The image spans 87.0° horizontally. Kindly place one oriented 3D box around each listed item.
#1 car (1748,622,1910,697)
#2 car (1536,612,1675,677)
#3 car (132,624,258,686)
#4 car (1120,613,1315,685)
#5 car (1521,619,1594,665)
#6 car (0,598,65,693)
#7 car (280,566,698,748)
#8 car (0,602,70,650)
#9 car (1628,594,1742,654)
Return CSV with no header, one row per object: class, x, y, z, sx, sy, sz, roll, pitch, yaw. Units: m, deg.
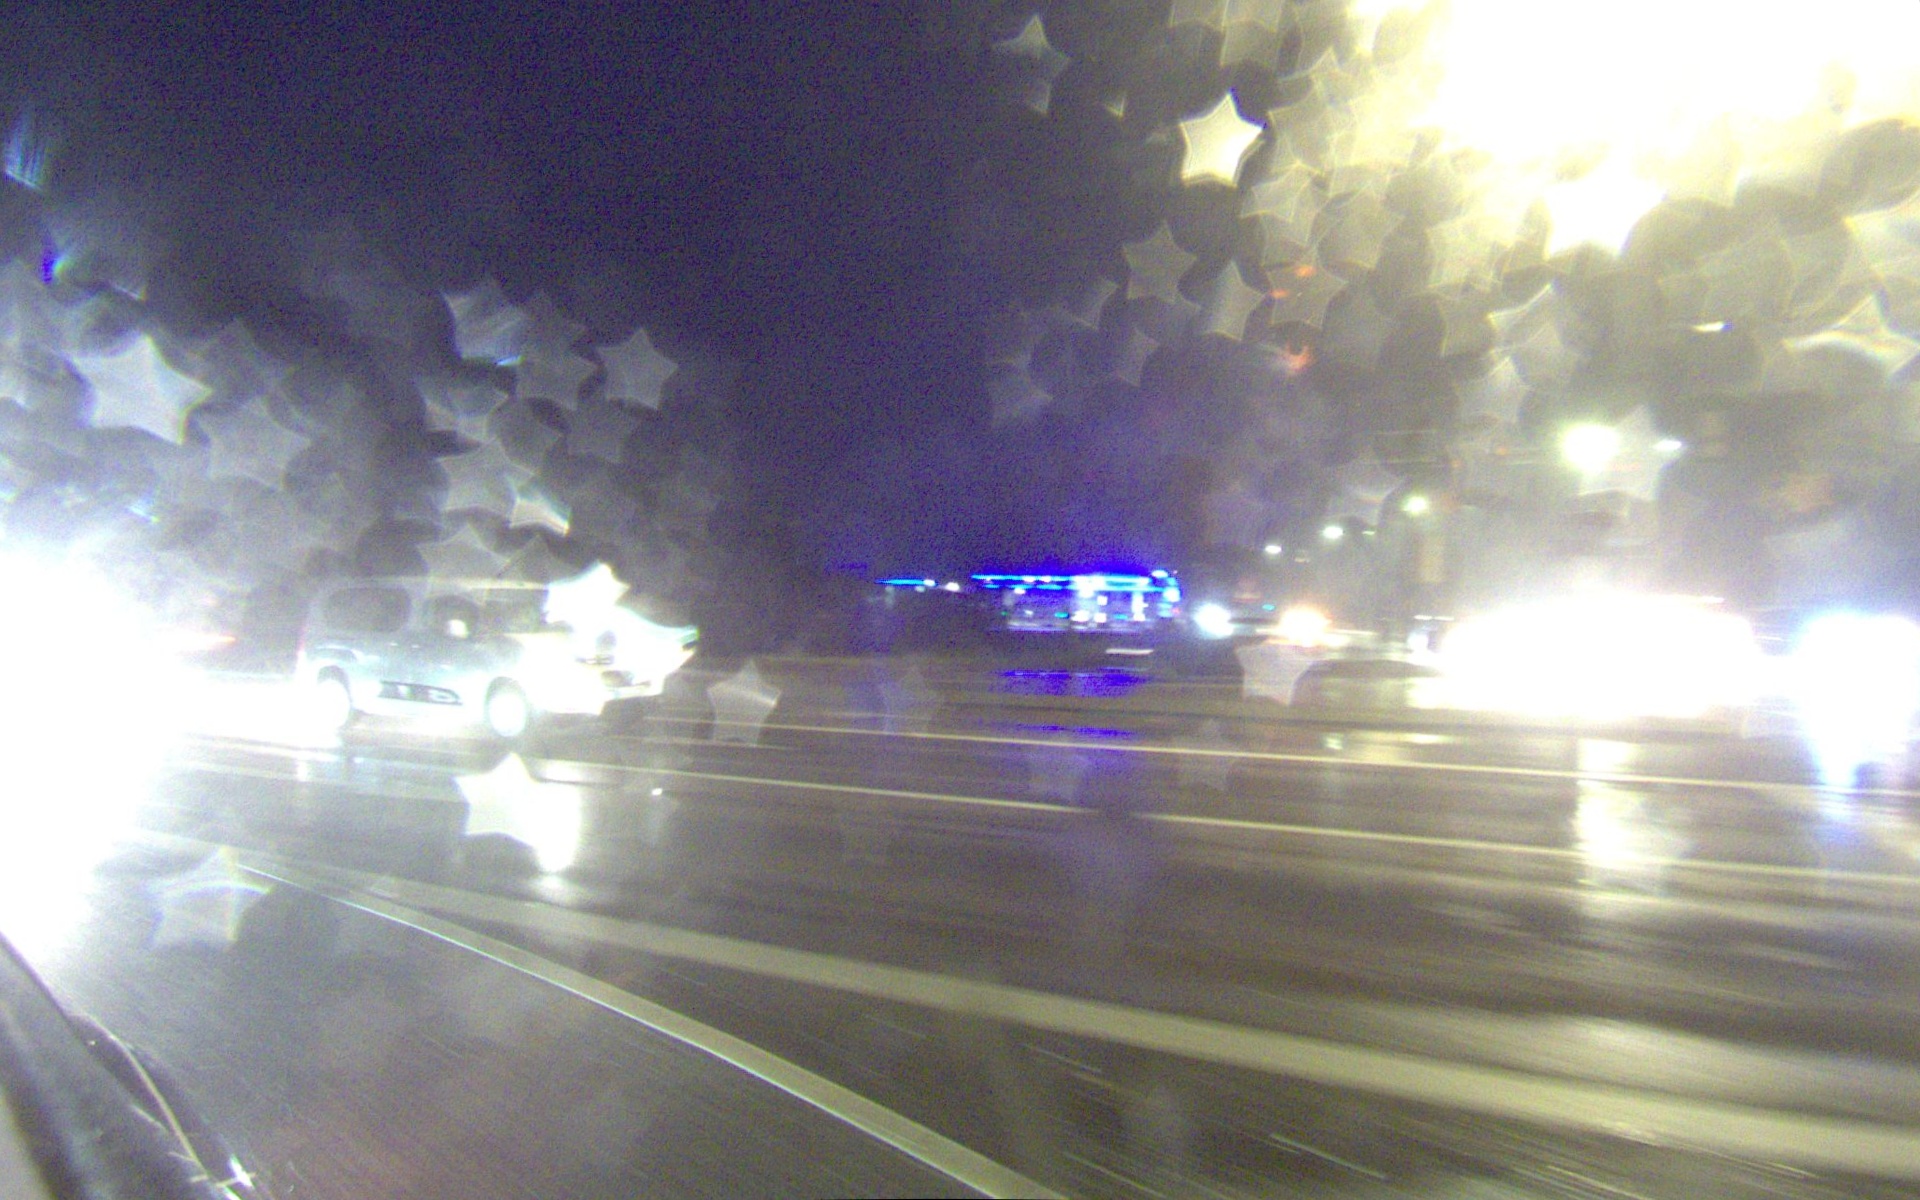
car,25.036,1.659,29.351,1.649,1.867,4.134,0,1,10
car,18.805,1.241,29.734,1.937,1.645,4.246,0,1,10
car,-26.354,1.835,34.858,3.982,1.952,1.981,-1,1,29
car,5.725,1.058,22.472,4.000,1.425,1.716,-1,1,22
car,27.746,1.923,47.120,1.693,1.953,3.600,0,1,9
car,-19.067,0.767,19.251,4.222,1.607,1.770,3,-1,30
car,-5.606,0.610,11.995,4.695,1.807,1.983,-1,-1,26
car,-37.759,1.030,40.535,4.772,1.806,2.013,-1,-1,34
car,26.661,0.819,37.365,1.774,2.039,4.134,0,1,10
